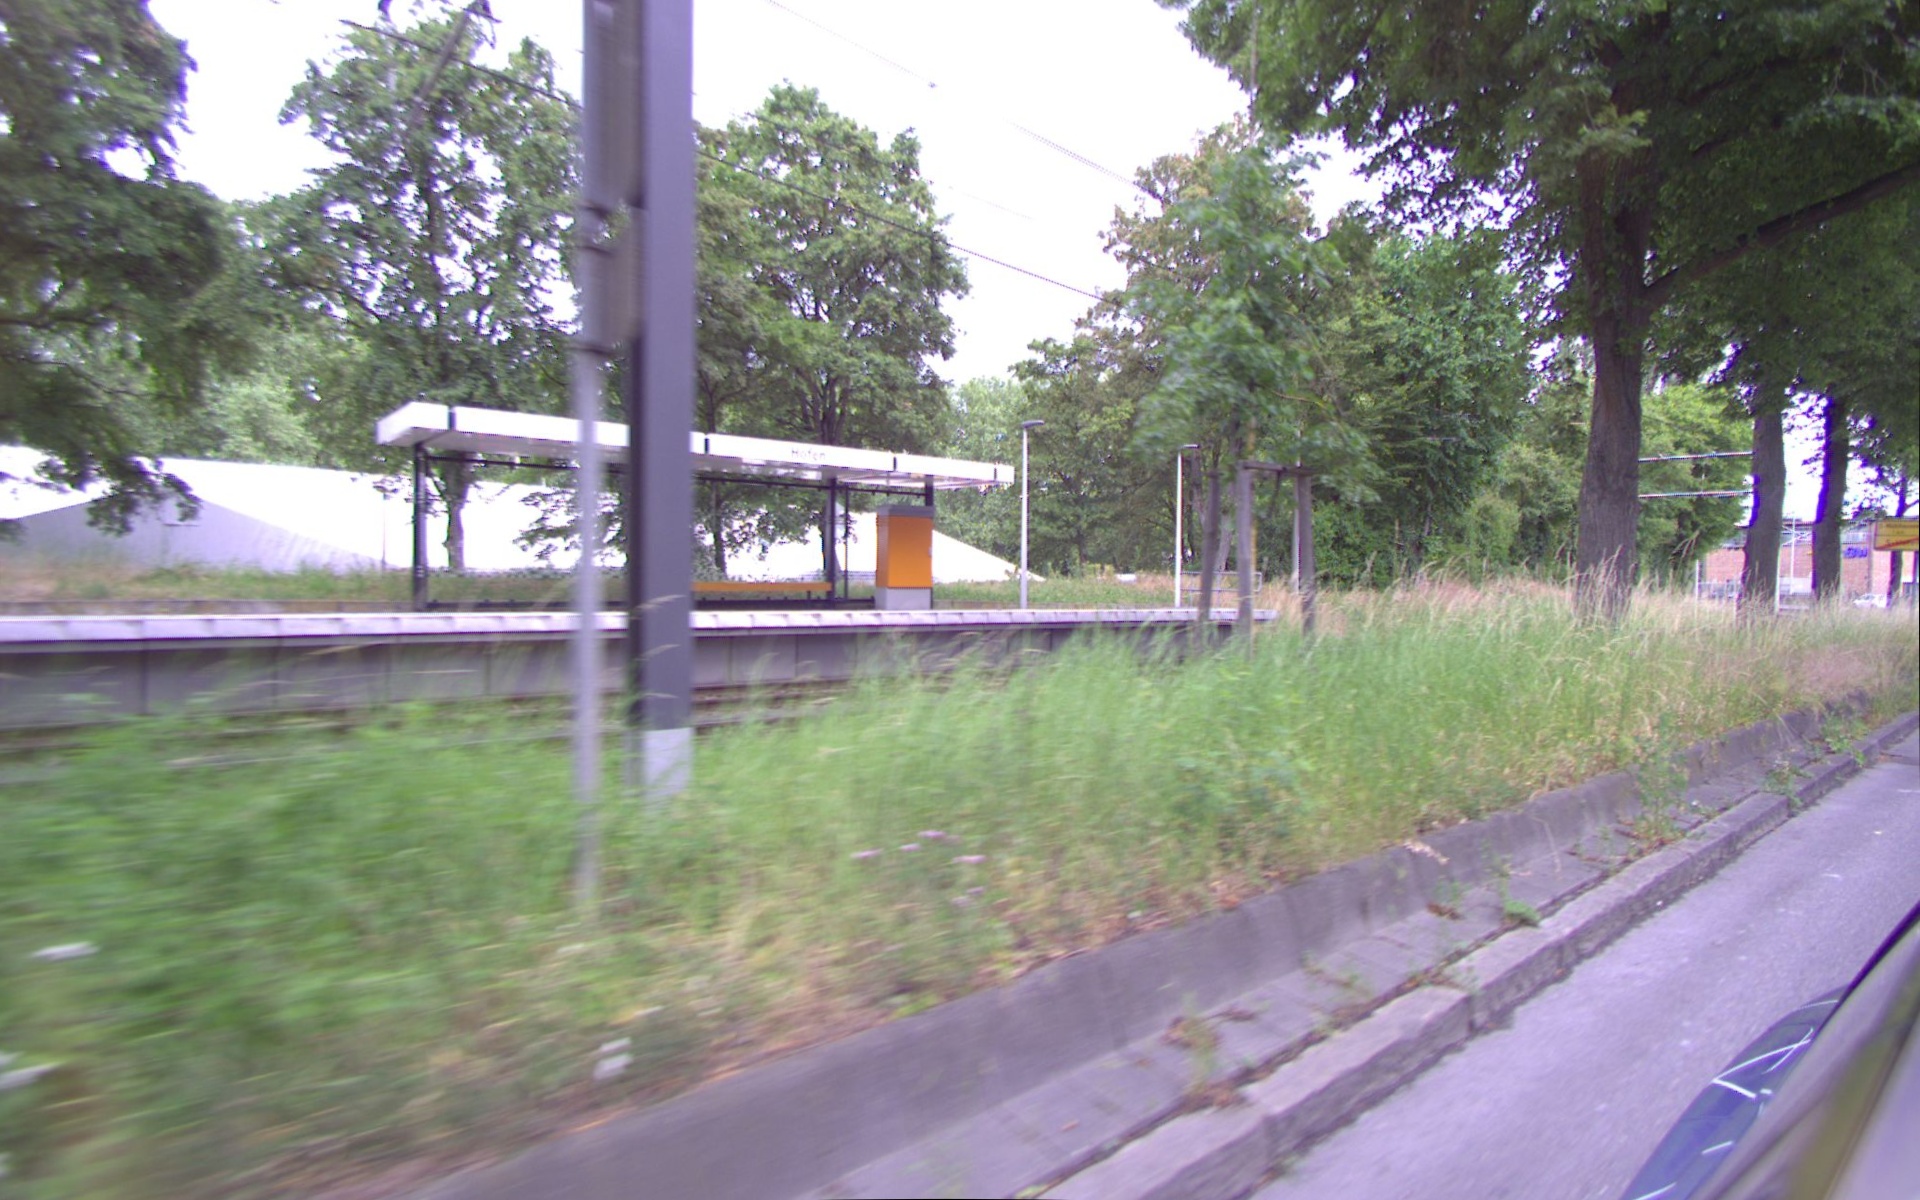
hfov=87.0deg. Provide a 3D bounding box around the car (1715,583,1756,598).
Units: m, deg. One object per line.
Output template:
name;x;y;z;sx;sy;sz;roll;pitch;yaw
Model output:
car;82.441;-1.010;107.599;1.697;1.627;4.004;0;0;9

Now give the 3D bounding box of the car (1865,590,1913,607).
car;80.897;-0.134;88.190;1.564;1.484;3.676;0;1;17
